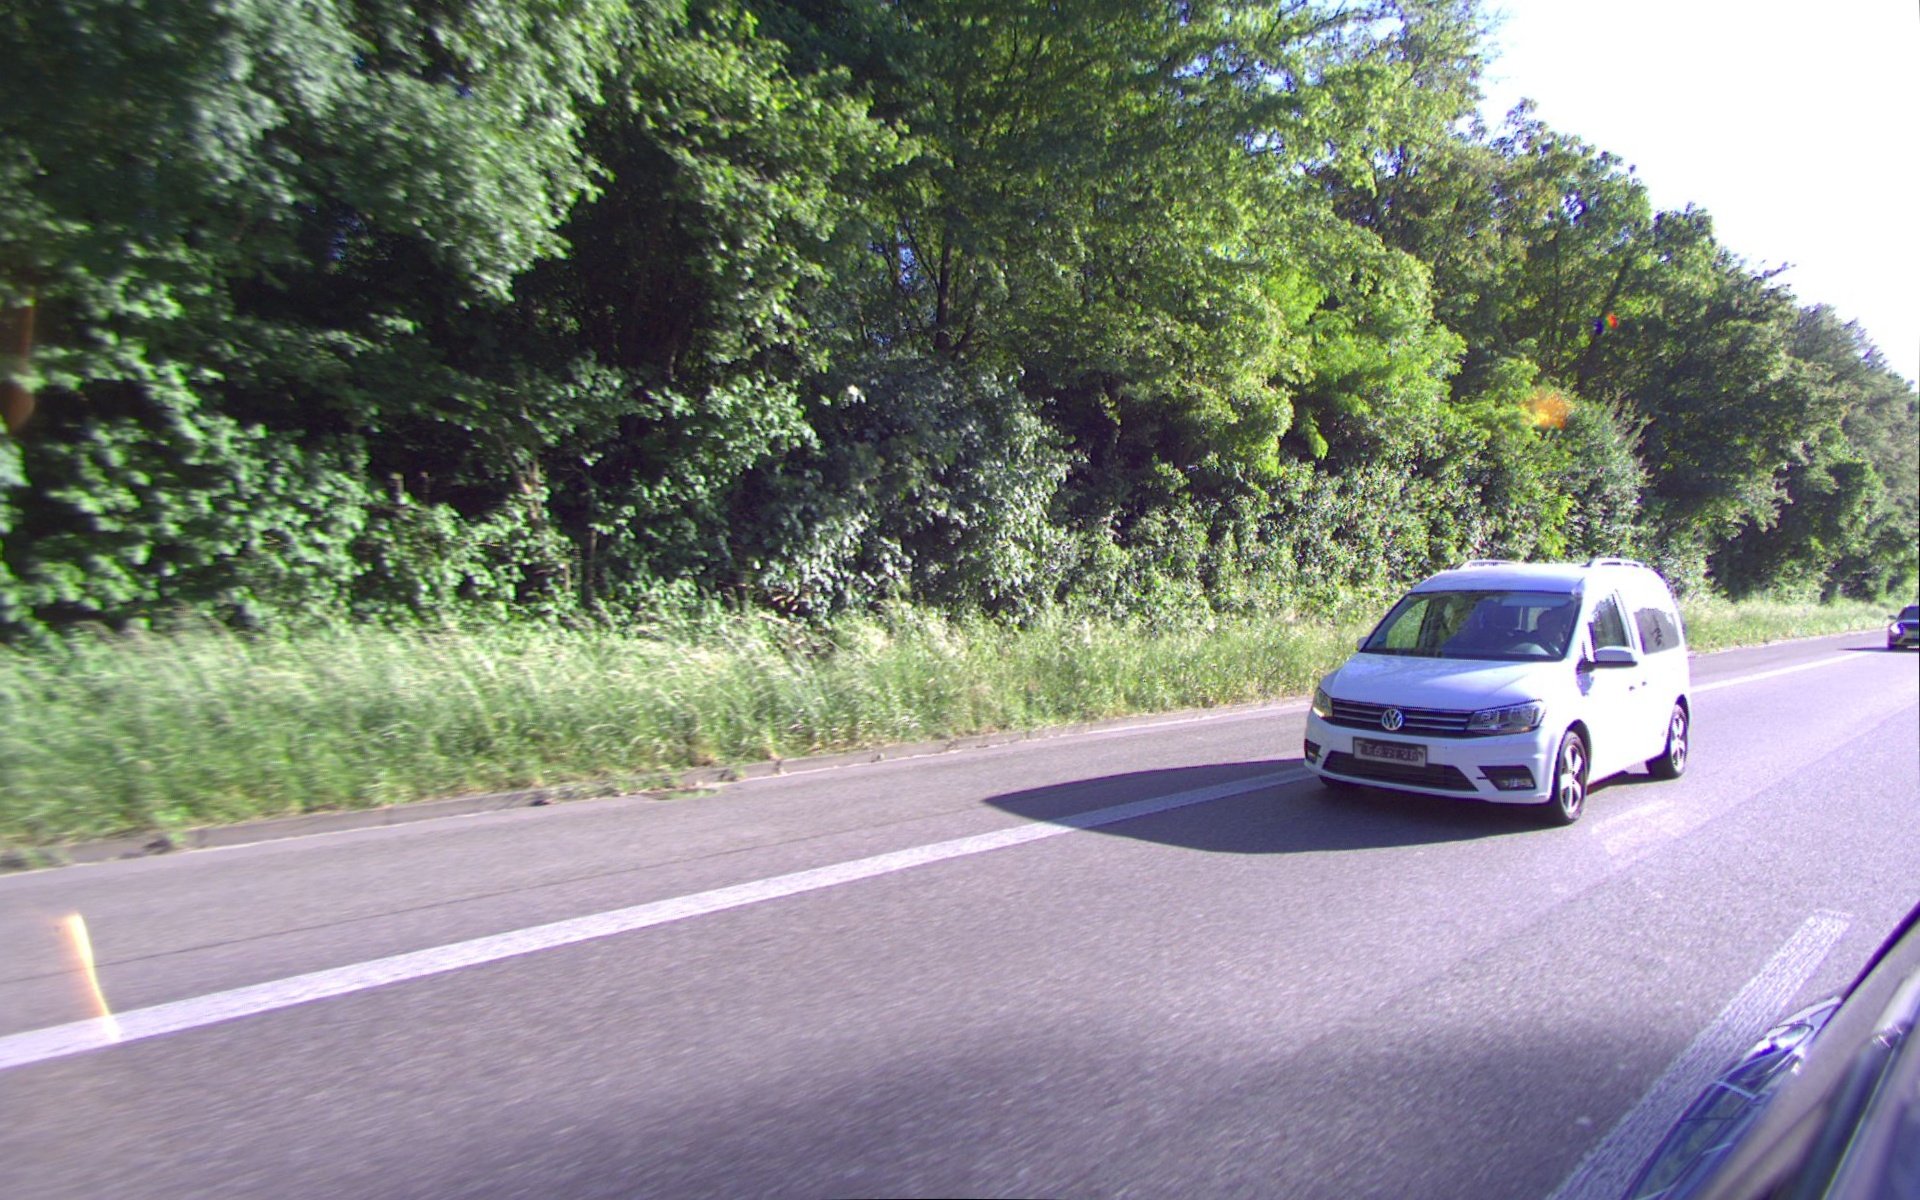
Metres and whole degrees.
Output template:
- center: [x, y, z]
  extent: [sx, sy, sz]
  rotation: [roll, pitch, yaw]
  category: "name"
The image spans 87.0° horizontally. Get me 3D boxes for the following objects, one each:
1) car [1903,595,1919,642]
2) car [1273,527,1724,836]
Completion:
- center: [31.412, 0.586, 32.172]
  extent: [3.811, 1.467, 1.792]
  rotation: [0, 0, -42]
  category: "car"
- center: [4.551, 0.458, 8.205]
  extent: [4.509, 1.835, 1.801]
  rotation: [-1, 1, -42]
  category: "car"
